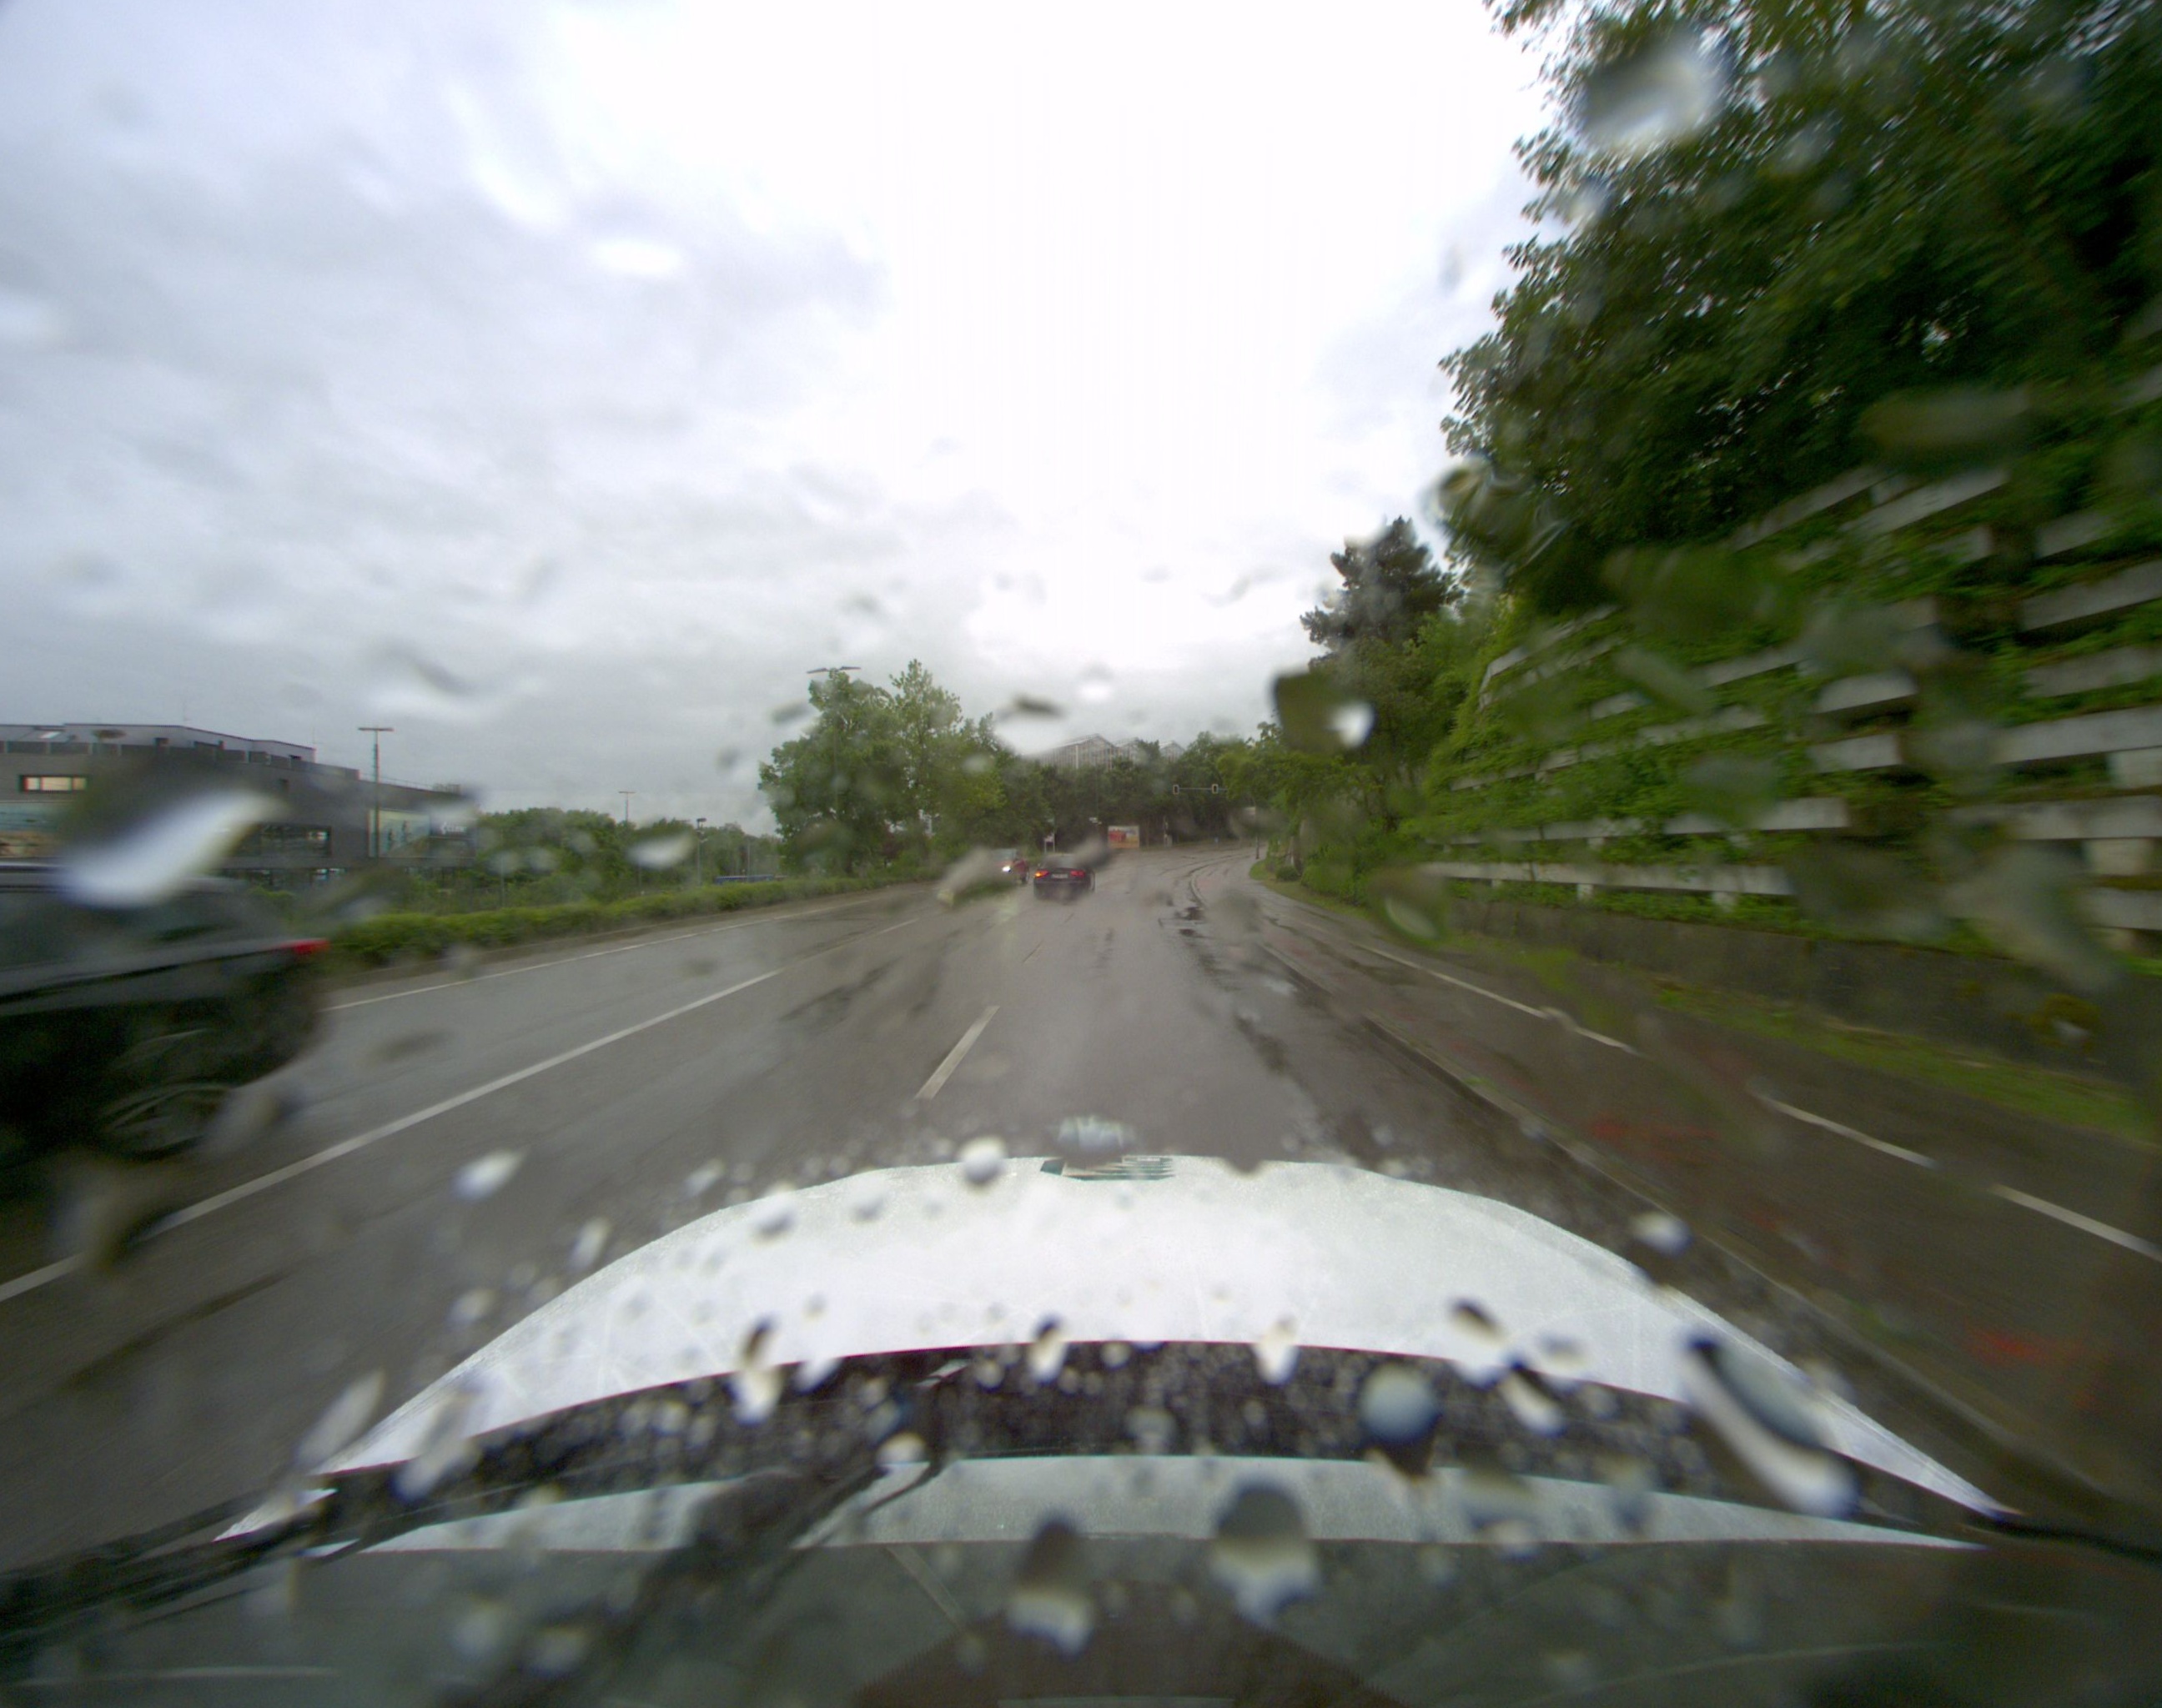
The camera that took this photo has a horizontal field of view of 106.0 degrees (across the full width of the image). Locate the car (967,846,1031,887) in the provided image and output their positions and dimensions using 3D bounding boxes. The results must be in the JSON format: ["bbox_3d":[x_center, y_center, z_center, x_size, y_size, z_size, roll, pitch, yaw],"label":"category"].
[{"bbox_3d":[-3.329,0.473,33.986,1.744,1.535,4.009,-1,1,8],"label":"car"}]

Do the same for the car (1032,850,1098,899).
[{"bbox_3d":[-0.438,0.610,26.655,1.746,1.395,4.006,-1,1,5],"label":"car"}]

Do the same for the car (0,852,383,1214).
[{"bbox_3d":[-5.271,0.736,2.878,1.718,1.462,4.541,1,0,-1],"label":"car"}]
